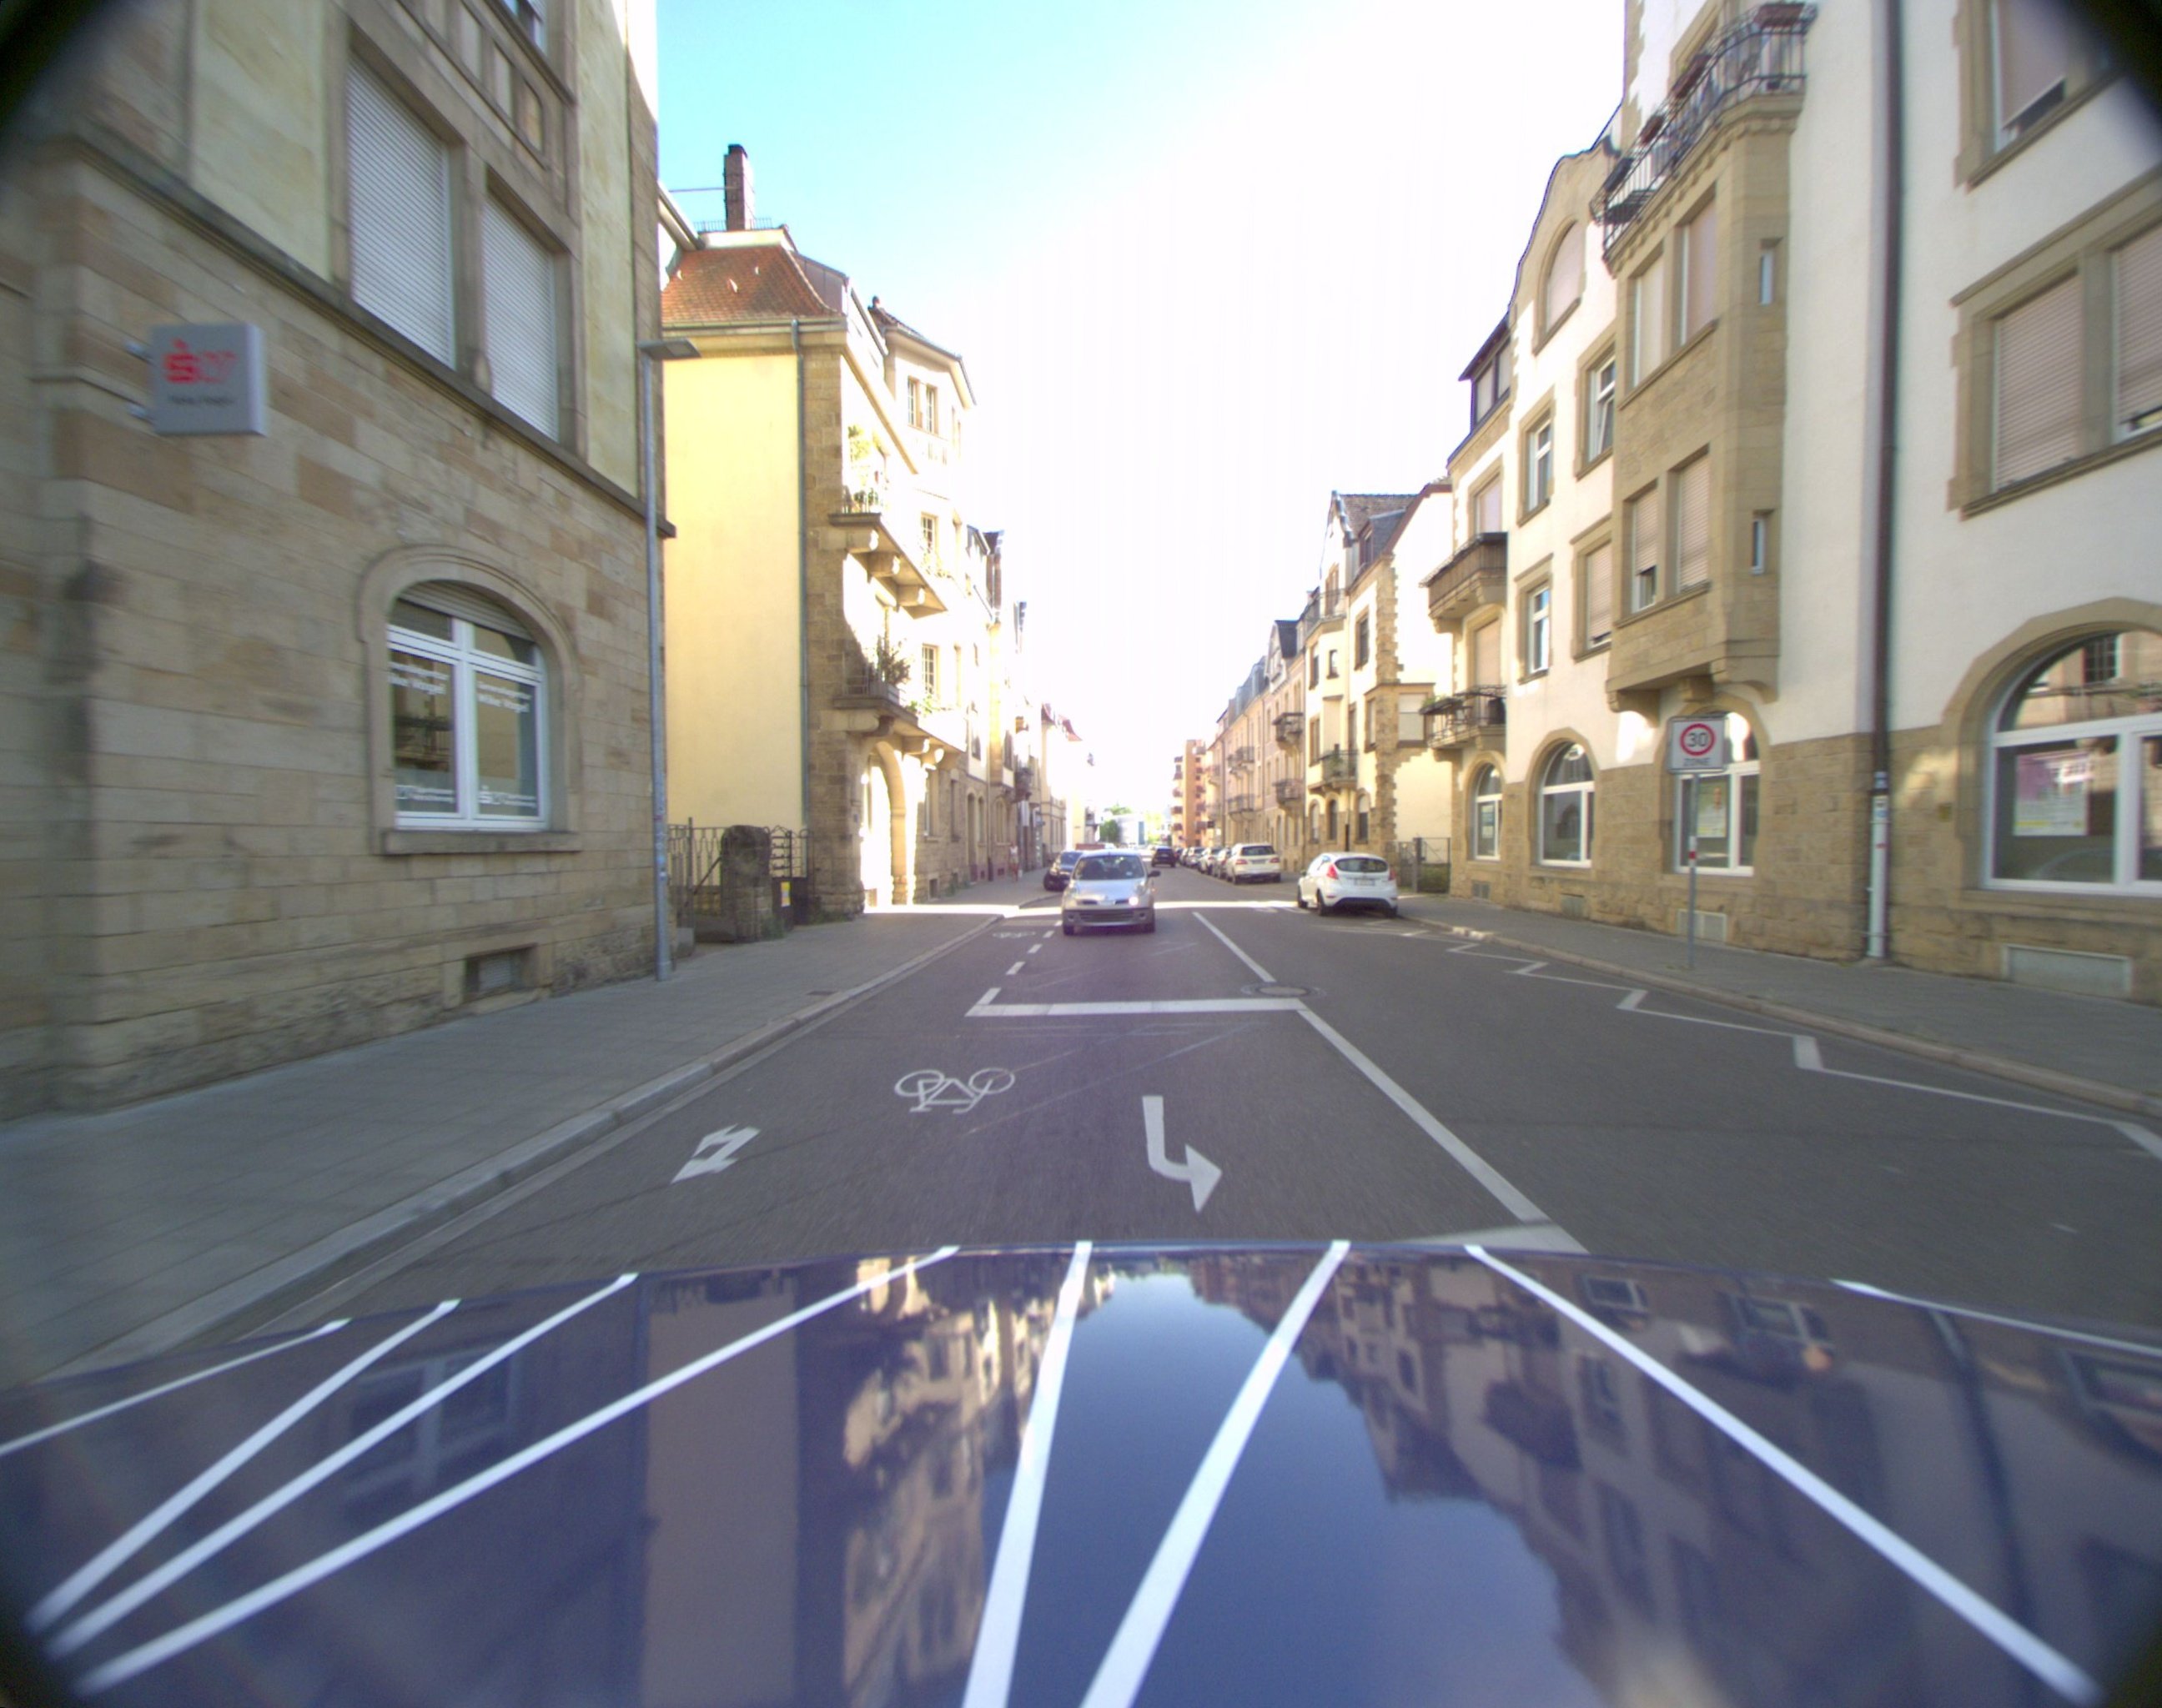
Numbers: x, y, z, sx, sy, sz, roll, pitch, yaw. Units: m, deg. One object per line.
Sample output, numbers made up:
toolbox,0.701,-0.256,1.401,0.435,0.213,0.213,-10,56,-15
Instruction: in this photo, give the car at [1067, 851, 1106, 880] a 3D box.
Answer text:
car,0.331,0.553,39.330,1.833,1.337,3.820,-3,0,2

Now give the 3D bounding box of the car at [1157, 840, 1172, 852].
car,12.515,-1.193,114.278,1.917,1.614,4.346,-4,1,3

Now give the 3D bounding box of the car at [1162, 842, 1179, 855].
car,12.158,-0.786,103.712,1.917,1.614,4.346,-4,1,3

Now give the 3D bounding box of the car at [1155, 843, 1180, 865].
car,6.982,-0.016,61.608,1.916,1.718,4.348,0,1,6

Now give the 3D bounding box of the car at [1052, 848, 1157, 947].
car,0.573,0.711,14.475,1.651,1.559,3.617,-2,1,6

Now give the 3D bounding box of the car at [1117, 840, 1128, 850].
car,7.452,-1.662,136.010,1.877,1.657,4.000,-2,1,5

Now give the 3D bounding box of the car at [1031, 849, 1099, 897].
car,-0.506,0.653,27.974,1.998,1.528,4.001,-3,1,5

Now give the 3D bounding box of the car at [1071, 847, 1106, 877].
car,0.490,0.433,43.484,1.833,1.586,3.820,-3,0,2

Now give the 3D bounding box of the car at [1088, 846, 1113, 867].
car,1.578,0.194,60.612,1.833,1.586,3.820,-3,0,2

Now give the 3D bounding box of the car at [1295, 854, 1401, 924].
car,6.233,0.749,18.096,1.556,1.403,3.572,1,1,6

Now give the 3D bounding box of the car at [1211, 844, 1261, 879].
car,7.867,0.324,38.928,1.917,1.509,4.347,-4,1,5

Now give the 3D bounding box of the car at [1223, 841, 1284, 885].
car,7.396,0.334,32.975,1.917,1.650,4.347,-4,1,5

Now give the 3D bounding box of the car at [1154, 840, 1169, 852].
car,12.687,-1.297,120.023,1.917,1.614,4.346,-4,1,3

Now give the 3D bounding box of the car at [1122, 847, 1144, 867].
car,4.834,0.257,70.513,1.877,1.657,4.000,-2,1,5

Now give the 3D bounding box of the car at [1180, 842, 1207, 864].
car,9.563,-0.104,64.948,1.917,1.614,4.347,-4,1,5

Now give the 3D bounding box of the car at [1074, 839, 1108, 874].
car,0.699,0.128,47.949,1.833,2.023,3.820,-3,0,4

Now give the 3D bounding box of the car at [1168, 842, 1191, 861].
car,9.746,-0.287,75.293,1.917,1.614,4.347,-4,1,4

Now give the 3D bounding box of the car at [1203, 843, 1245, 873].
car,8.364,0.203,44.765,1.917,1.509,4.347,-4,1,5

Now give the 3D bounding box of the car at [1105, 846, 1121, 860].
car,4.231,-0.127,101.327,1.877,1.657,4.000,-2,1,5

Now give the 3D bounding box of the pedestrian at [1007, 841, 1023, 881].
pedestrian,-2.822,0.292,32.652,0.578,1.712,0.698,1,2,5

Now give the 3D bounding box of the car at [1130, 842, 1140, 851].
car,10.723,-1.404,150.240,1.877,1.657,4.000,-2,1,5

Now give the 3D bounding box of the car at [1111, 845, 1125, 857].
car,5.467,-0.520,112.546,1.877,1.657,4.000,-2,1,5

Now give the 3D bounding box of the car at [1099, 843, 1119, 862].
car,2.700,-0.148,72.931,1.833,1.649,3.820,-3,0,2

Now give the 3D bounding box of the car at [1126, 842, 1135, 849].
car,12.346,-2.126,189.406,1.877,1.657,4.000,-2,1,5

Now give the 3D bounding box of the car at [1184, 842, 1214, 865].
car,9.055,-0.061,58.536,1.917,1.509,4.347,-4,1,5
